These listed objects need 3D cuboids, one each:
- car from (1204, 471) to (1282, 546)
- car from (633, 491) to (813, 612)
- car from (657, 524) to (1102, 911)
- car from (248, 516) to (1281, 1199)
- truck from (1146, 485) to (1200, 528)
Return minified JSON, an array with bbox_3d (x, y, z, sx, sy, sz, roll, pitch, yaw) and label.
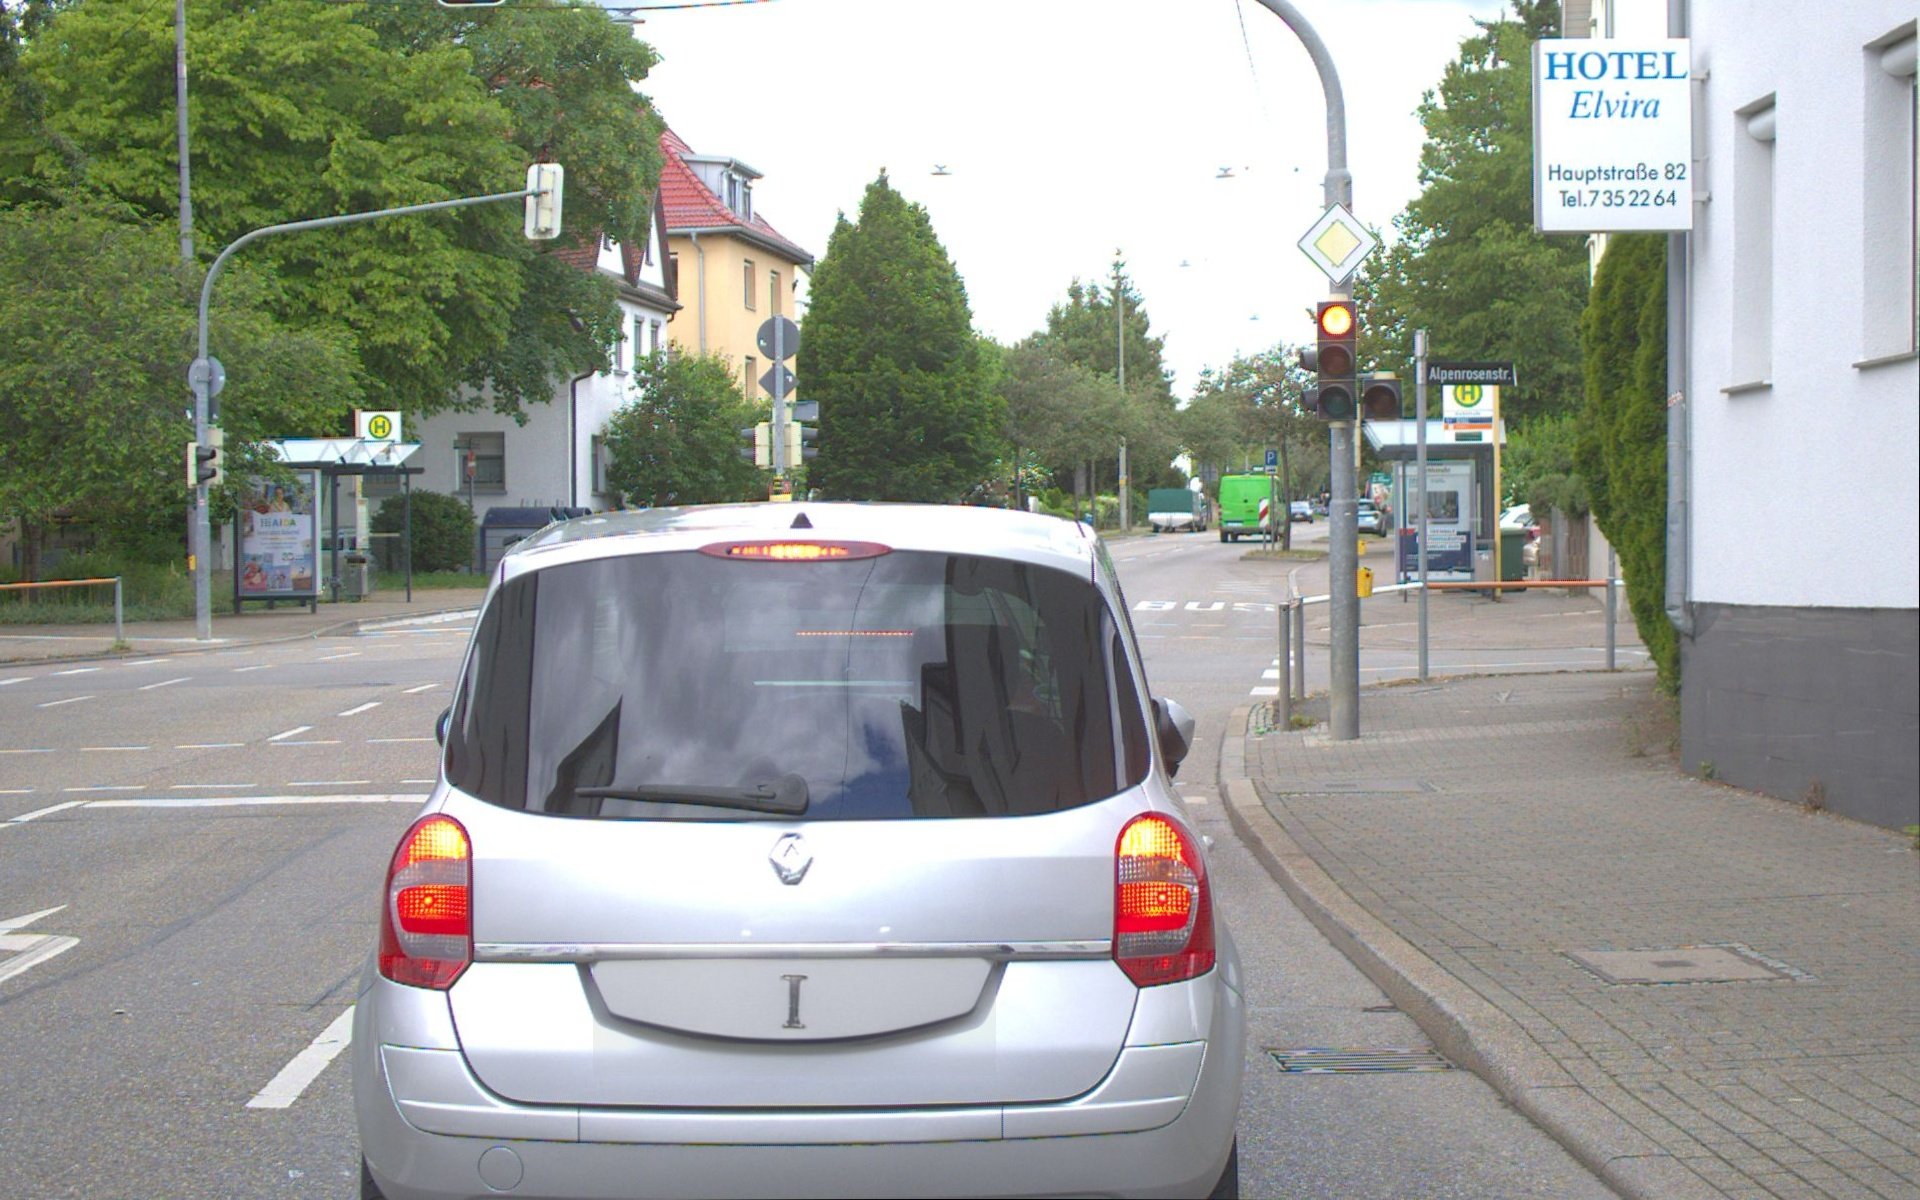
[{"bbox_3d":[9.862,-3.157,119.595,2.060,2.503,5.593,1,1,11],"label":"car"},{"bbox_3d":[-3.820,-0.814,56.103,1.927,1.767,3.999,-4,1,10],"label":"car"},{"bbox_3d":[-0.352,0.437,15.547,1.755,1.525,3.797,0,1,-1],"label":"car"},{"bbox_3d":[-0.371,0.594,7.873,1.755,1.525,4.000,0,1,-1],"label":"car"},{"bbox_3d":[10.453,-4.552,168.416,2.102,2.007,5.745,1,1,9],"label":"truck"}]
